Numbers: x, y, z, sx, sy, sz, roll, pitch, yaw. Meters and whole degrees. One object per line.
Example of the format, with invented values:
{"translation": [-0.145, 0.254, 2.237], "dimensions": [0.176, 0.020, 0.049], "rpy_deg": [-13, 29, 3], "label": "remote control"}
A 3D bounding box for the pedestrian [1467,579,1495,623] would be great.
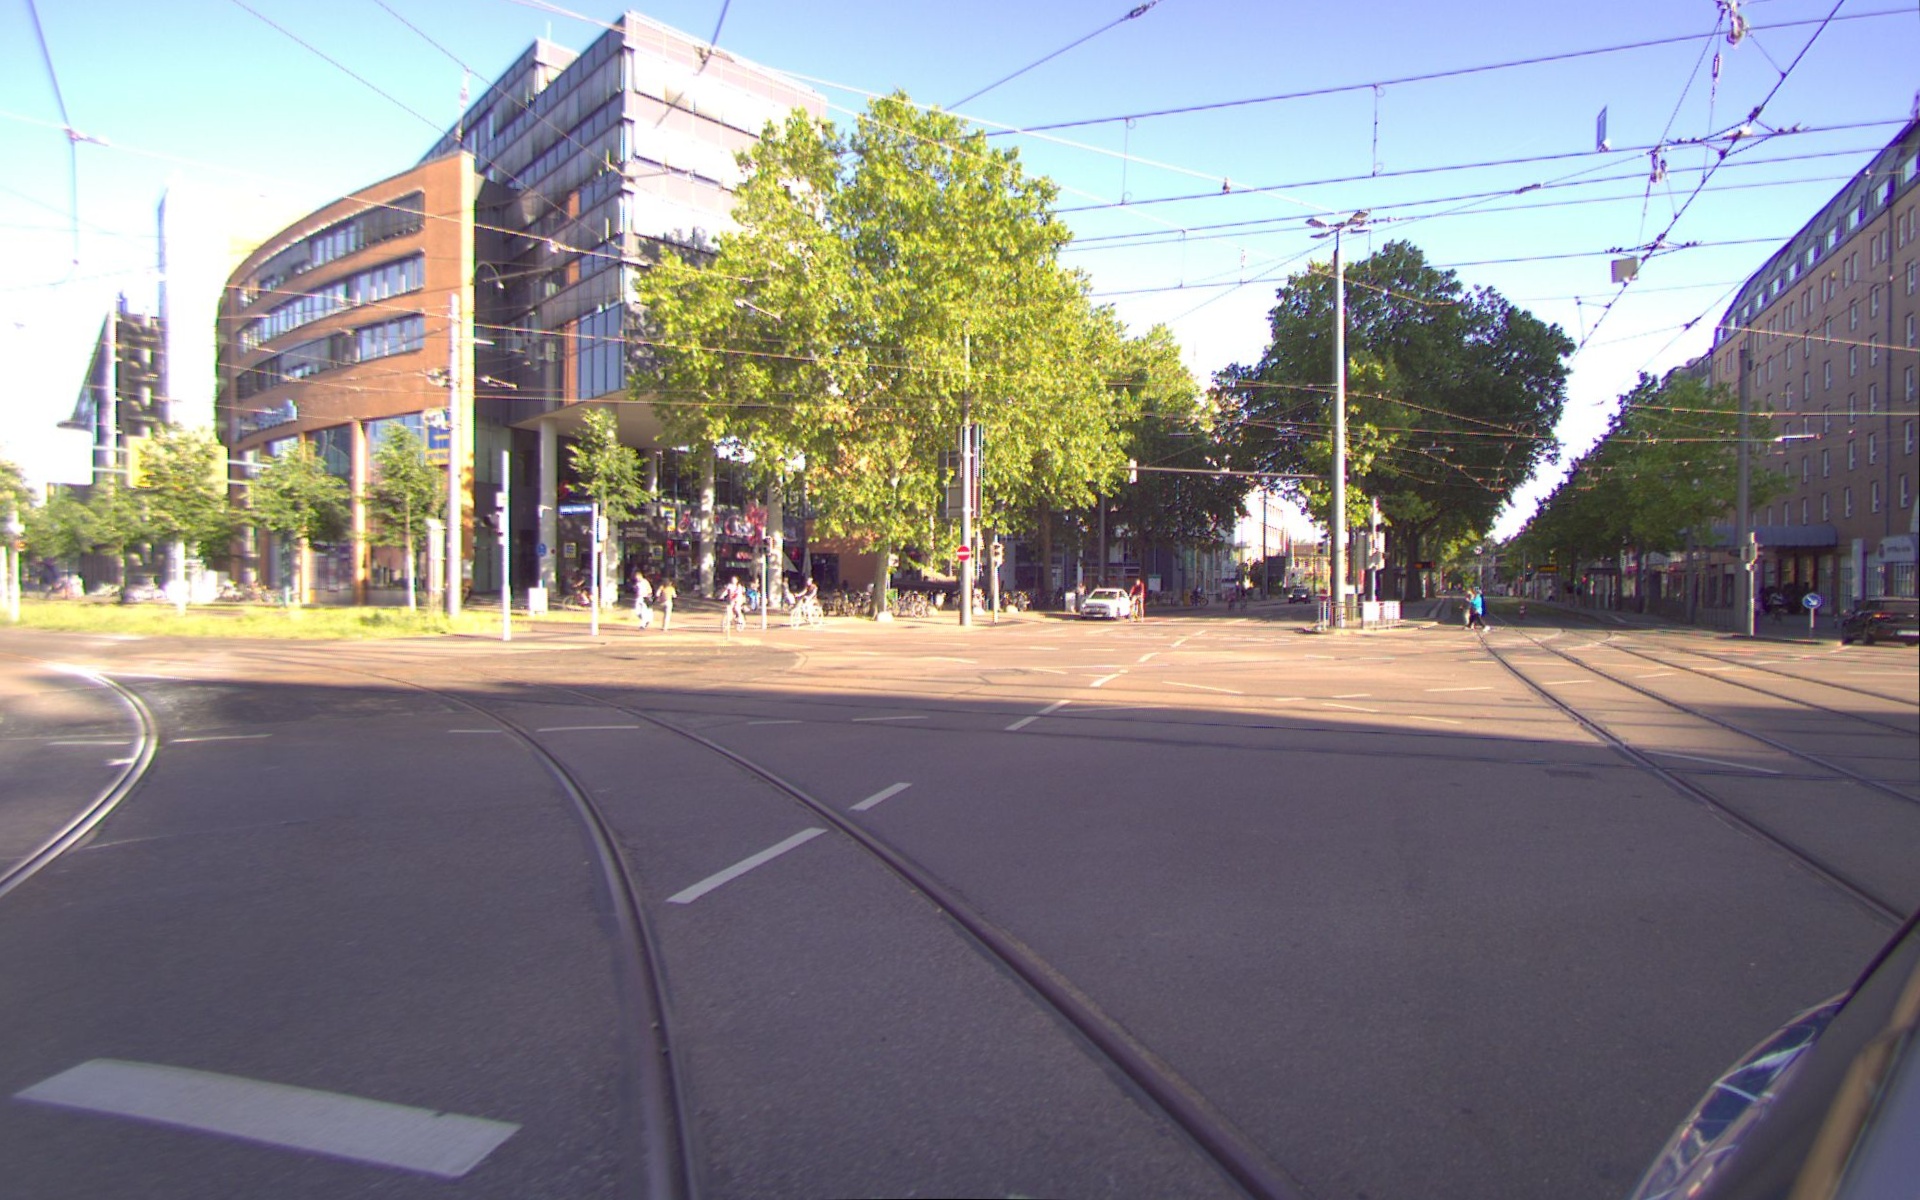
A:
{"translation": [18.977, 0.035, 36.856], "dimensions": [0.730, 1.559, 0.675], "rpy_deg": [1, -1, 11], "label": "pedestrian"}

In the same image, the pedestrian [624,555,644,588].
{"translation": [-19.238, -1.663, 59.765], "dimensions": [0.833, 1.876, 0.809], "rpy_deg": [3, -2, -36], "label": "pedestrian"}

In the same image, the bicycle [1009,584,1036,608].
{"translation": [3.394, -0.248, 55.495], "dimensions": [0.860, 1.250, 2.938], "rpy_deg": [2, 1, -8], "label": "bicycle"}

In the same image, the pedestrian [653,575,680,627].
{"translation": [-9.114, 0.023, 31.456], "dimensions": [0.483, 1.602, 0.654], "rpy_deg": [2, 1, 22], "label": "pedestrian"}

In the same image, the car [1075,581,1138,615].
{"translation": [6.937, -0.087, 47.633], "dimensions": [1.977, 1.505, 3.969], "rpy_deg": [1, 0, 23], "label": "car"}

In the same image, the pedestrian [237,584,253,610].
{"translation": [-45.093, -0.188, 63.832], "dimensions": [0.620, 1.589, 0.697], "rpy_deg": [2, 1, 42], "label": "pedestrian"}

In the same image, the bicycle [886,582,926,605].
{"translation": [-2.949, -0.361, 54.813], "dimensions": [0.860, 1.105, 2.936], "rpy_deg": [1, 1, -30], "label": "bicycle"}

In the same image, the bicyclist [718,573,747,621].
{"translation": [-7.192, -0.103, 31.974], "dimensions": [0.565, 1.521, 0.737], "rpy_deg": [1, 1, 30], "label": "bicyclist"}

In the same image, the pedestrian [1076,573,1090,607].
{"translation": [6.571, -0.519, 54.199], "dimensions": [0.634, 1.798, 0.614], "rpy_deg": [1, 1, 18], "label": "pedestrian"}

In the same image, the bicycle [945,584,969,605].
{"translation": [-0.191, -0.309, 56.883], "dimensions": [0.860, 1.105, 2.938], "rpy_deg": [2, 1, -8], "label": "bicycle"}

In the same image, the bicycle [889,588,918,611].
{"translation": [-2.512, -0.040, 44.993], "dimensions": [0.388, 0.998, 1.691], "rpy_deg": [2, 1, 32], "label": "bicycle"}

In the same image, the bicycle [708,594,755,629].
{"translation": [-7.194, 0.350, 31.932], "dimensions": [0.512, 1.034, 1.616], "rpy_deg": [1, 1, 29], "label": "bicycle"}

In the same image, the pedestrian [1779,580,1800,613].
{"translation": [41.579, -0.159, 50.716], "dimensions": [0.768, 1.614, 0.827], "rpy_deg": [0, -1, 38], "label": "pedestrian"}

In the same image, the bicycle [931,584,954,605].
{"translation": [-0.967, -0.321, 56.080], "dimensions": [0.860, 1.105, 2.938], "rpy_deg": [2, 1, -8], "label": "bicycle"}

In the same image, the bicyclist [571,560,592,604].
{"translation": [-17.427, -0.830, 46.611], "dimensions": [0.817, 1.955, 1.233], "rpy_deg": [1, 1, -19], "label": "bicyclist"}

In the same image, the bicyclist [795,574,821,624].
{"translation": [-5.355, -0.044, 35.635], "dimensions": [0.565, 1.715, 0.737], "rpy_deg": [1, 1, 30], "label": "bicyclist"}

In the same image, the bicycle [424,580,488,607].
{"translation": [-23.253, -0.318, 46.690], "dimensions": [3.152, 1.147, 1.033], "rpy_deg": [2, 1, 29], "label": "bicycle"}

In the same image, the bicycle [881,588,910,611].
{"translation": [-2.869, -0.046, 45.246], "dimensions": [0.388, 0.998, 1.691], "rpy_deg": [2, 1, 32], "label": "bicycle"}

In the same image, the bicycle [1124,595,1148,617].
{"translation": [7.779, 0.274, 44.580], "dimensions": [0.645, 0.922, 1.845], "rpy_deg": [1, 1, 22], "label": "bicycle"}

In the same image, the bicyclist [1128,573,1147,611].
{"translation": [7.851, -0.351, 44.693], "dimensions": [0.630, 1.635, 0.921], "rpy_deg": [1, 1, 22], "label": "bicyclist"}

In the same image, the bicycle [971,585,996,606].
{"translation": [1.284, -0.283, 56.726], "dimensions": [0.860, 1.105, 2.938], "rpy_deg": [2, 1, -8], "label": "bicycle"}

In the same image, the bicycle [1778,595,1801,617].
{"translation": [41.563, 0.326, 50.708], "dimensions": [0.787, 1.065, 1.897], "rpy_deg": [1, -1, 37], "label": "bicycle"}

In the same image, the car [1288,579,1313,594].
{"translation": [35.730, -1.456, 106.192], "dimensions": [1.883, 1.553, 3.963], "rpy_deg": [1, 1, 27], "label": "car"}

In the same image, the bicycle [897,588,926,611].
{"translation": [-2.138, -0.021, 44.678], "dimensions": [0.388, 0.998, 1.691], "rpy_deg": [2, 1, 32], "label": "bicycle"}

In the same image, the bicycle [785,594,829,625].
{"translation": [-5.374, 0.312, 35.598], "dimensions": [0.512, 1.034, 1.839], "rpy_deg": [1, 1, 29], "label": "bicycle"}

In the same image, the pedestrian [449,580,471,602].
{"translation": [-25.386, -0.470, 51.400], "dimensions": [0.811, 1.070, 0.775], "rpy_deg": [2, 1, 41], "label": "pedestrian"}

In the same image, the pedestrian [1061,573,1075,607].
{"translation": [5.757, -0.535, 53.980], "dimensions": [0.634, 1.798, 0.614], "rpy_deg": [1, 1, 18], "label": "pedestrian"}

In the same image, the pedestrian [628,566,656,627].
{"translation": [-9.960, -0.107, 31.680], "dimensions": [0.689, 1.860, 0.515], "rpy_deg": [1, -1, -36], "label": "pedestrian"}

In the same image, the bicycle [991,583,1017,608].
{"translation": [2.388, -0.267, 55.324], "dimensions": [0.860, 1.250, 2.938], "rpy_deg": [2, 1, -8], "label": "bicycle"}

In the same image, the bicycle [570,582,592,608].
{"translation": [-17.479, -0.256, 46.677], "dimensions": [0.817, 1.127, 3.058], "rpy_deg": [1, 1, -19], "label": "bicycle"}

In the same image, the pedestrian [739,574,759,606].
{"translation": [-10.474, -0.499, 50.243], "dimensions": [0.562, 1.546, 0.766], "rpy_deg": [1, 1, 44], "label": "pedestrian"}

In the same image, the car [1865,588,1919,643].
{"translation": [27.799, 0.416, 29.532], "dimensions": [1.789, 1.484, 4.250], "rpy_deg": [3, 2, 39], "label": "car"}

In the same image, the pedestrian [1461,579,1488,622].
{"translation": [19.116, 0.026, 37.620], "dimensions": [0.730, 1.559, 0.650], "rpy_deg": [1, -1, 11], "label": "pedestrian"}

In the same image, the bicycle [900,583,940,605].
{"translation": [-2.215, -0.346, 55.388], "dimensions": [0.860, 1.105, 2.936], "rpy_deg": [1, 1, -30], "label": "bicycle"}
